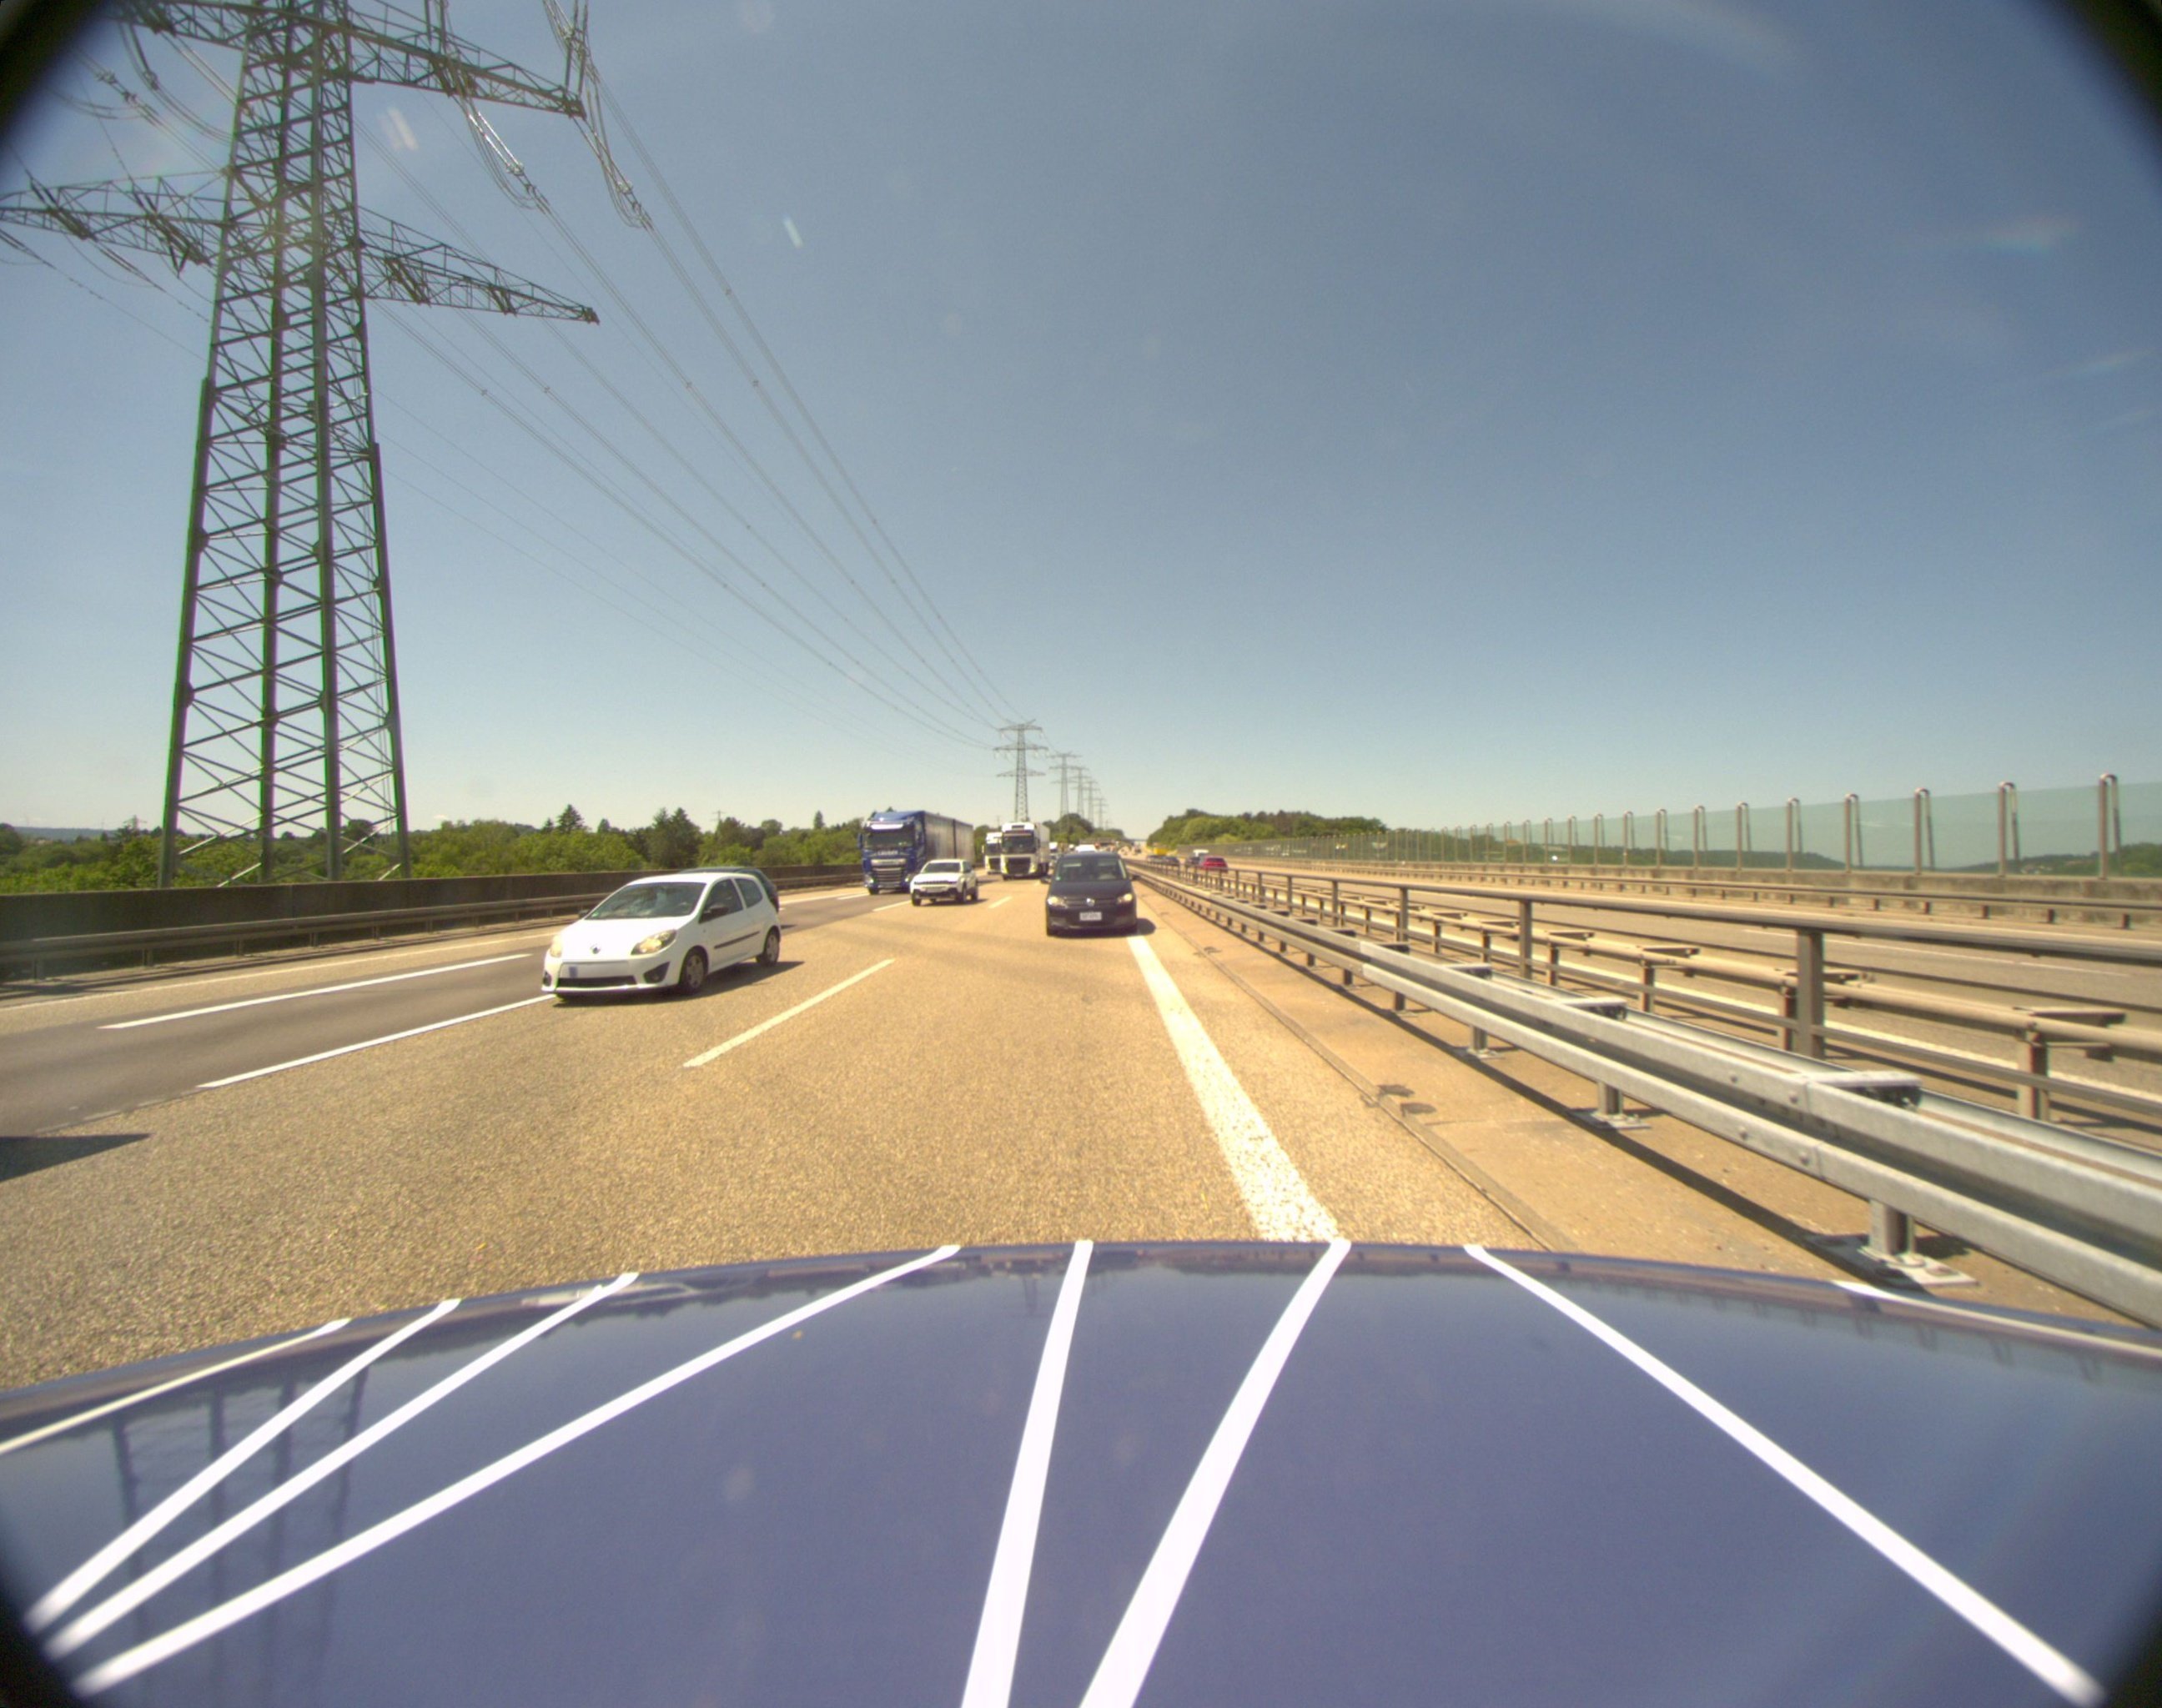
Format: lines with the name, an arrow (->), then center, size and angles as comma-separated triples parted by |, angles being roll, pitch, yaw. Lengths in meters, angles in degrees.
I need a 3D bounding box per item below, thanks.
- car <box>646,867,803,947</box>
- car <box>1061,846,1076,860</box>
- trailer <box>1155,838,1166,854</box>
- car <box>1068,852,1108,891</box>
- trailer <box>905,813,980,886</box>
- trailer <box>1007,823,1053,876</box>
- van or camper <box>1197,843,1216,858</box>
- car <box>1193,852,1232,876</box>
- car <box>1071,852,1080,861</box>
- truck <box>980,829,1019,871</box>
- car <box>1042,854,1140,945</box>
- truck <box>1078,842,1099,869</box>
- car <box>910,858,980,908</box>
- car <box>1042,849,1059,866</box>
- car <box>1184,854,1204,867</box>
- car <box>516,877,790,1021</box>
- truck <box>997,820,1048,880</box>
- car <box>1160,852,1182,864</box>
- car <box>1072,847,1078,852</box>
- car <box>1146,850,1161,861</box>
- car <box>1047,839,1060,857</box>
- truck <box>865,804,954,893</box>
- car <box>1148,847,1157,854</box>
car -> -8.066, 1.128, 17.629 | 1.709, 1.497, 3.888 | -2, 0, 1
car -> -1.932, -0.219, 118.928 | 1.998, 2.002, 4.000 | -2, 1, 1
trailer -> 21.147, -2.024, 202.486 | 2.428, 4.040, 13.805 | 0, 0, 4
car -> 0.302, 0.725, 34.223 | 1.685, 1.607, 3.642 | -2, 0, 0
trailer -> -8.458, -0.344, 47.886 | 2.543, 3.971, 10.883 | -3, 1, 0
trailer -> -4.042, -0.399, 62.431 | 2.898, 3.847, 9.773 | -2, 1, 0
van or camper -> 18.939, -0.595, 115.093 | 1.998, 2.199, 5.536 | 1, 1, 0
car -> 8.886, 0.666, 51.529 | 1.846, 1.438, 4.418 | -2, 1, 1
car -> -1.088, 0.465, 152.764 | 1.701, 1.599, 3.639 | -2, 1, 1
truck -> -7.965, -0.394, 75.251 | 2.914, 3.869, 6.739 | -3, 1, 0
car -> 0.184, 0.829, 15.822 | 1.739, 1.607, 3.911 | -2, 0, 0
truck -> 0.880, 0.122, 82.812 | 2.100, 2.700, 5.864 | -2, 1, 1
car -> -4.666, 0.964, 26.554 | 1.722, 1.526, 3.753 | -2, 0, 0
car -> -3.503, 0.402, 88.369 | 1.672, 1.761, 3.846 | -2, 1, 1
car -> 13.827, 0.781, 92.931 | 1.805, 1.378, 4.263 | 0, 1, 1
car -> -5.460, 1.116, 10.280 | 1.584, 1.432, 3.629 | -2, 0, 0
truck -> -4.084, -0.291, 54.147 | 2.914, 3.869, 6.739 | -3, 1, 0
car -> 9.985, 0.439, 84.450 | 1.901, 1.307, 4.372 | 0, 0, 1
car -> -1.706, -1.375, 235.589 | 1.701, 1.599, 3.639 | -2, 1, 1
car -> 10.584, 0.257, 110.870 | 1.845, 1.520, 3.558 | 0, 0, 1
car -> -5.451, -1.213, 153.108 | 2.273, 3.303, 6.288 | -3, 1, 0
truck -> -8.457, -0.242, 38.480 | 2.517, 3.945, 7.927 | -2, 0, 0
car -> 15.954, -0.767, 169.774 | 1.860, 1.389, 4.675 | 0, 0, 1
